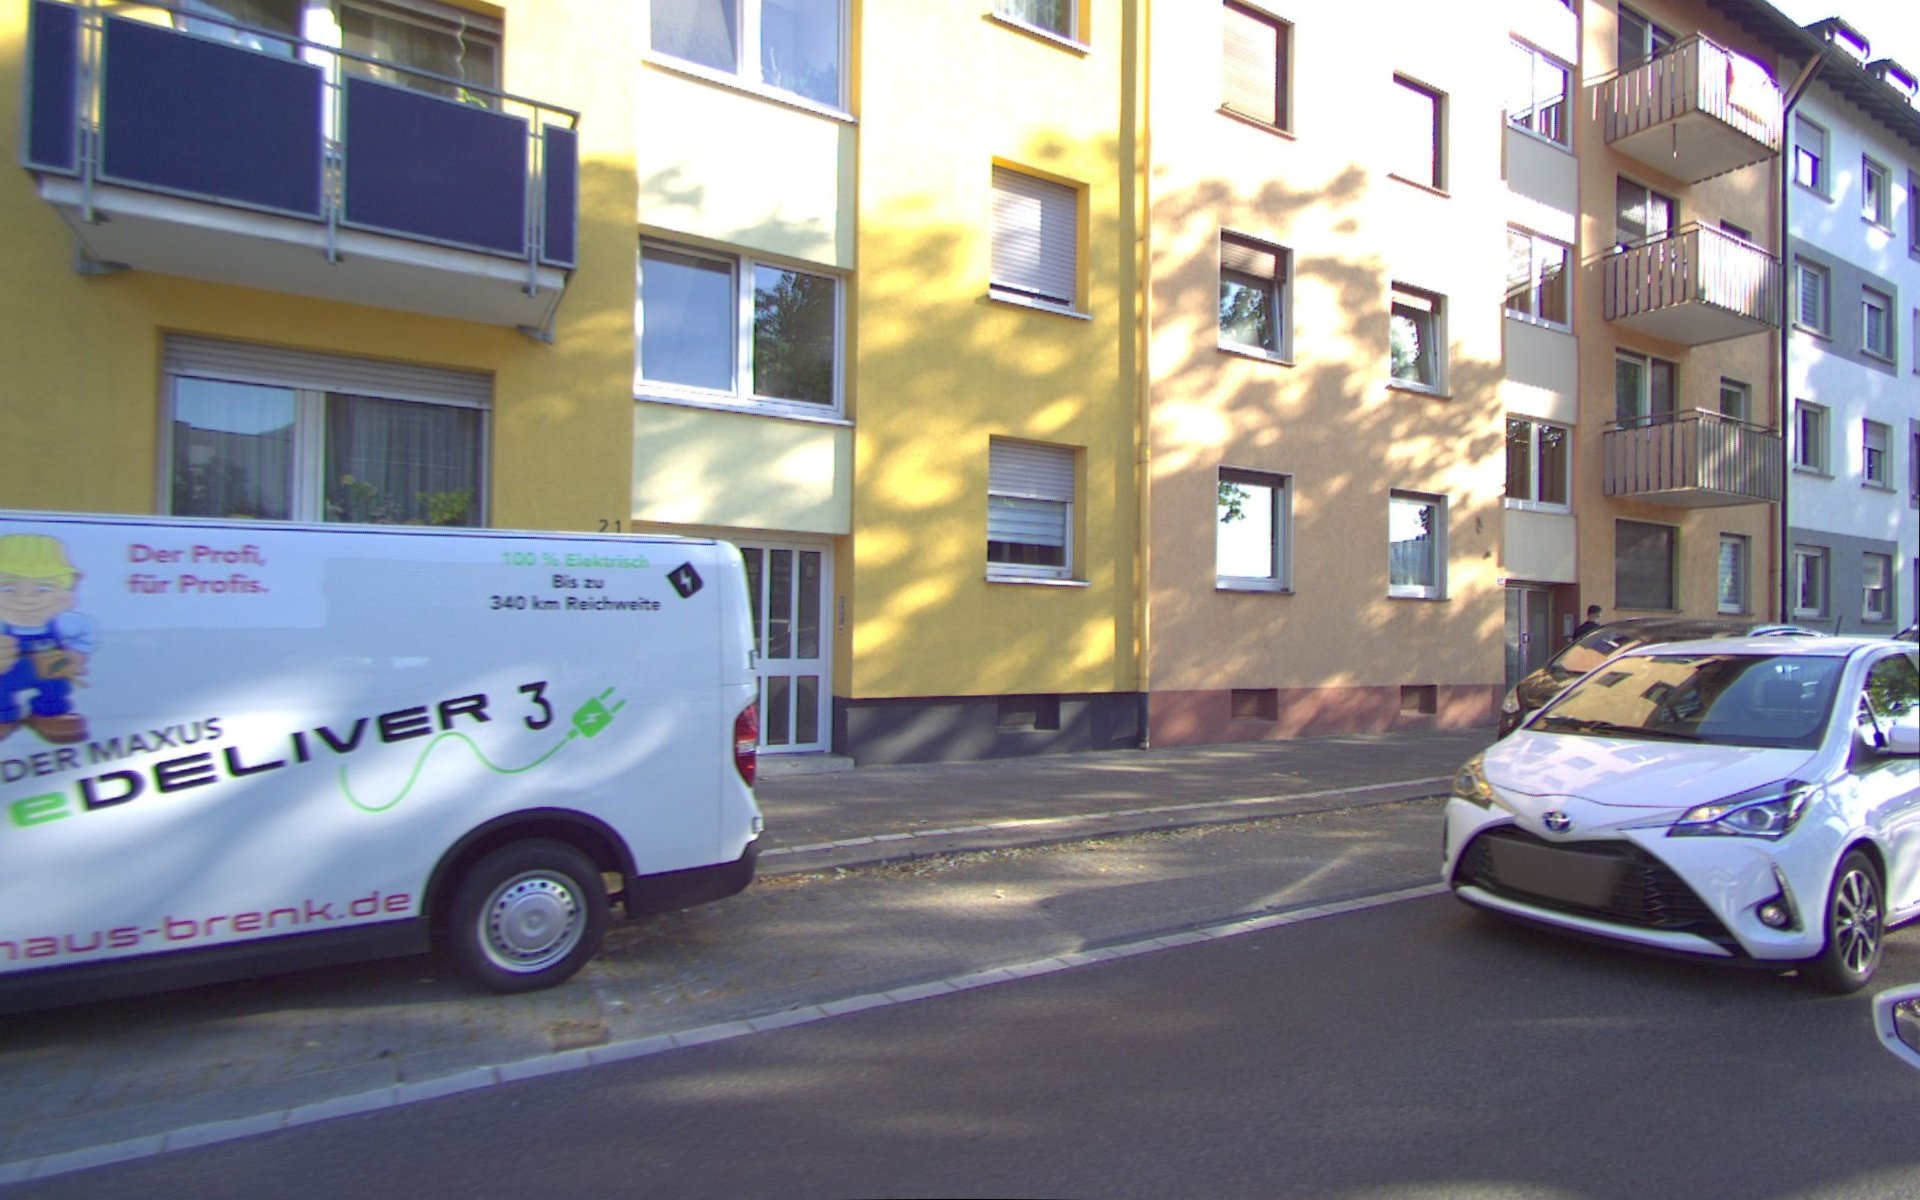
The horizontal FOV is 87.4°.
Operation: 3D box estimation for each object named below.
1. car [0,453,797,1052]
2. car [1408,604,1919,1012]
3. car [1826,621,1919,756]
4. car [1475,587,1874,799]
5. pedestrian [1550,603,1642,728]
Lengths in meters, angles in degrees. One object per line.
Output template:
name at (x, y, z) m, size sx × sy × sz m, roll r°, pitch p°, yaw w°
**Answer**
car at (-3.409, 0.497, 4.057) m, size 5.146 × 1.932 × 1.726 m, roll 2°, pitch -1°, yaw -29°
car at (4.413, 0.840, 5.504) m, size 3.888 × 1.544 × 1.632 m, roll 2°, pitch -1°, yaw -30°
car at (13.843, 1.174, 13.851) m, size 4.362 × 1.663 × 1.588 m, roll 2°, pitch 0°, yaw -31°
car at (7.527, 0.835, 10.467) m, size 4.497 × 1.811 × 1.736 m, roll 2°, pitch 0°, yaw -31°
pedestrian at (9.555, 0.960, 15.090) m, size 0.922 × 1.793 × 0.762 m, roll 1°, pitch 2°, yaw -30°
